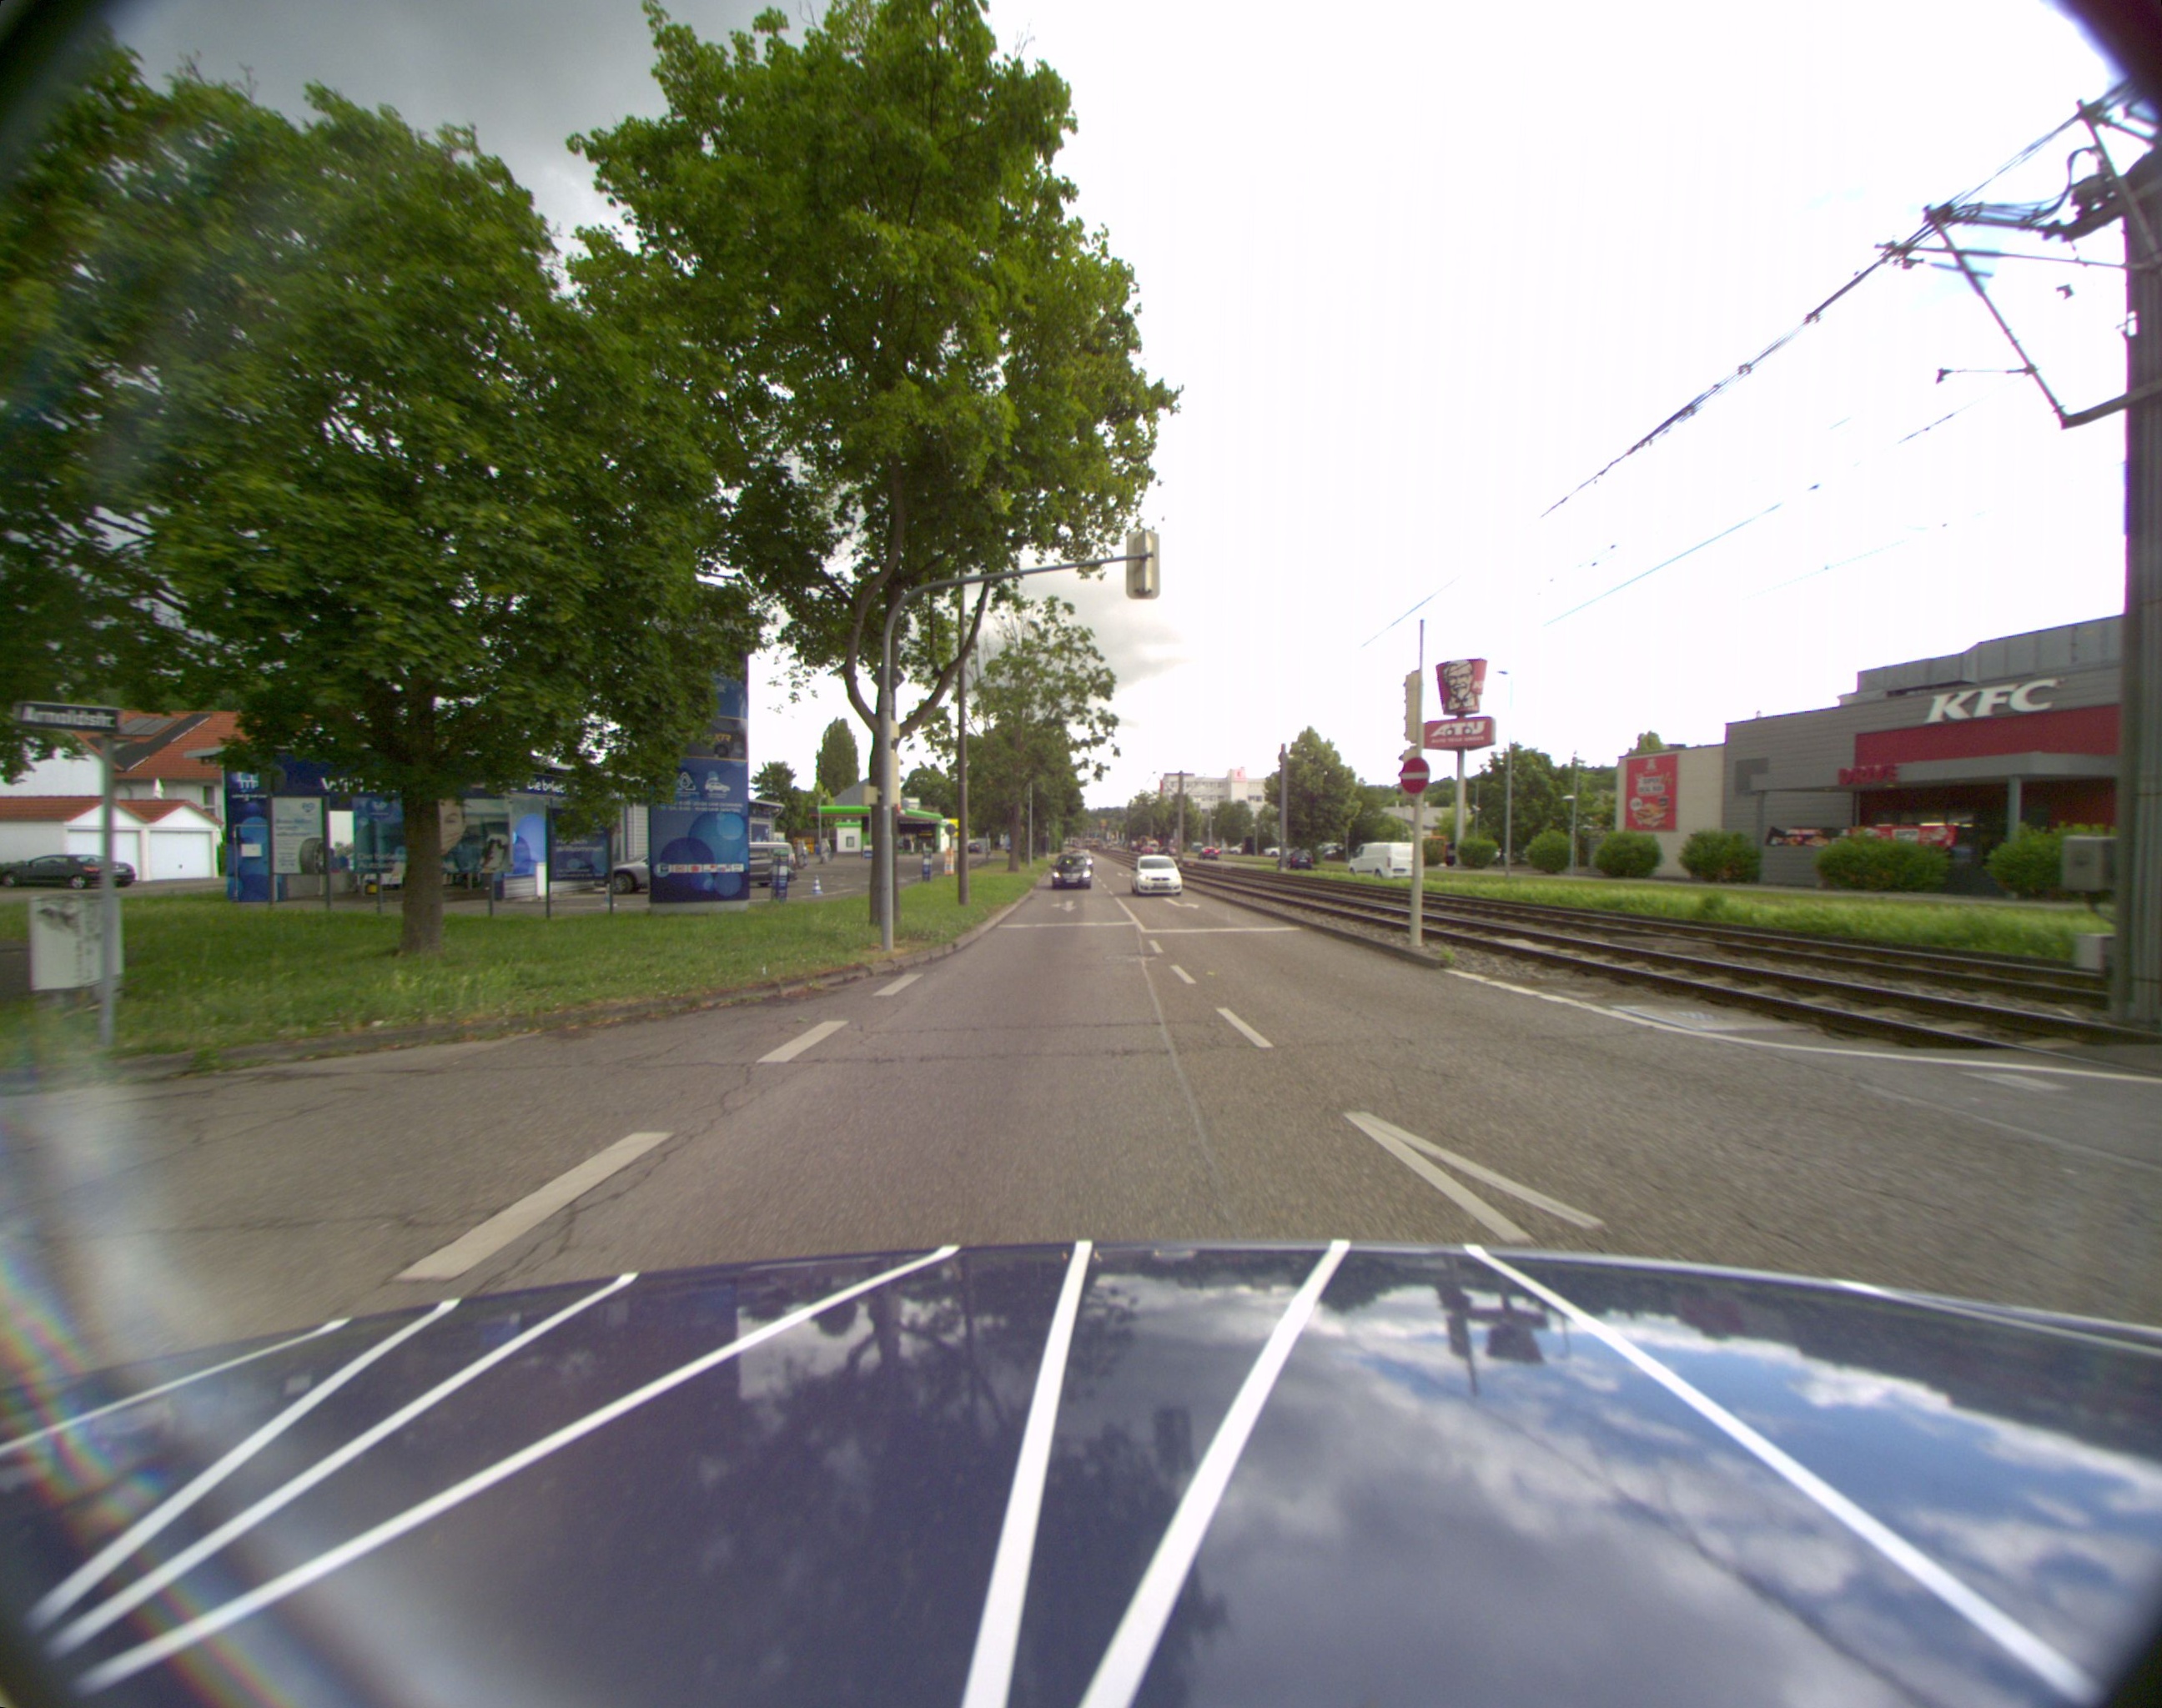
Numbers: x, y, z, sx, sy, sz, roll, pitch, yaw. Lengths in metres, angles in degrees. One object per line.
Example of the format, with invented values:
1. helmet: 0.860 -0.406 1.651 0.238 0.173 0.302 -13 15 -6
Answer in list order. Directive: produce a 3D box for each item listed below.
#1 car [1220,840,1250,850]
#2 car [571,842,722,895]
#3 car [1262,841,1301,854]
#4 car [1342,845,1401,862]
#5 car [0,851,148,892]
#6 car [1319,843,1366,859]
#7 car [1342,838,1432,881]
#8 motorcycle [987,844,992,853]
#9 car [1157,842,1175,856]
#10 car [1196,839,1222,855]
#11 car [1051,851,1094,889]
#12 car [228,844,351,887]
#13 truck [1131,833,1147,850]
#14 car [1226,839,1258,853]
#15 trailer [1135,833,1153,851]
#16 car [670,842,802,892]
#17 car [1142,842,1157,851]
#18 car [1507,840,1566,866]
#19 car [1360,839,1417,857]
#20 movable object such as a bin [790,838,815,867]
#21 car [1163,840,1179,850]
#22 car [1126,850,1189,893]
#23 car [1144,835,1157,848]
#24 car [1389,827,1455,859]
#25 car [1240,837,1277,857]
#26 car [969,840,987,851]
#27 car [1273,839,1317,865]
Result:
1. car: 25.405 -1.528 125.404 4.611 1.484 2.000 -2 1 2
2. car: -14.623 0.478 25.856 4.217 1.687 1.837 0 0 -20
3. car: 25.706 -0.864 97.379 4.482 1.498 1.794 -3 1 -4
4. car: 25.934 -0.060 67.956 4.385 1.346 2.195 -2 1 -1
5. car: -41.000 0.696 31.001 3.557 1.449 1.775 -2 1 -1
6. car: 25.843 -0.278 75.224 3.997 1.413 1.936 -2 1 -1
7. car: 15.101 0.236 37.829 2.000 2.002 4.882 0 1 -7
8. motorcycle: -13.041 -0.800 108.787 0.705 1.180 2.386 0 1 -7
9. car: 13.218 -0.820 118.477 1.999 2.002 3.997 2 1 -5
10. car: 15.553 -0.869 92.521 1.999 2.002 4.244 0 1 -5
11. car: -0.355 0.692 35.725 1.786 1.614 4.000 -1 1 2
12. car: -37.330 0.494 36.024 1.948 1.832 4.246 -3 1 -14
13. truck: 14.172 -3.057 187.099 2.900 3.944 8.627 0 1 -2
14. car: 24.592 -1.224 116.033 4.355 1.908 2.000 -2 1 2
15. trailer: 14.391 -2.847 175.582 2.678 3.875 14.421 2 1 -1
16. car: -13.505 0.444 29.909 4.393 1.811 1.746 -1 1 -43
17. car: 12.078 -1.396 134.608 1.788 1.573 4.479 1 1 -5
18. car: 38.060 -0.102 63.580 3.738 2.002 1.951 -3 1 -3
19. car: 26.389 -0.514 65.249 3.997 1.359 2.093 -2 1 -1
20. movable object such as a bin: -17.781 -0.127 48.505 1.162 1.808 1.454 0 1 -5
21. car: 15.194 -1.535 127.962 1.999 1.474 3.998 2 1 -2
22. car: 2.868 0.621 29.308 1.787 1.436 3.998 -3 1 -3
23. car: 13.994 -2.584 153.840 1.874 2.485 5.997 1 1 -2
24. car: 25.705 -0.835 57.392 3.997 2.153 2.058 -2 1 -1
25. car: 24.859 -1.010 106.610 4.481 2.733 2.288 1 2 -1
26. car: -15.476 -1.310 114.341 1.999 1.629 4.325 2 1 0
27. car: 16.765 -0.188 59.808 1.999 2.002 4.104 0 1 -5
